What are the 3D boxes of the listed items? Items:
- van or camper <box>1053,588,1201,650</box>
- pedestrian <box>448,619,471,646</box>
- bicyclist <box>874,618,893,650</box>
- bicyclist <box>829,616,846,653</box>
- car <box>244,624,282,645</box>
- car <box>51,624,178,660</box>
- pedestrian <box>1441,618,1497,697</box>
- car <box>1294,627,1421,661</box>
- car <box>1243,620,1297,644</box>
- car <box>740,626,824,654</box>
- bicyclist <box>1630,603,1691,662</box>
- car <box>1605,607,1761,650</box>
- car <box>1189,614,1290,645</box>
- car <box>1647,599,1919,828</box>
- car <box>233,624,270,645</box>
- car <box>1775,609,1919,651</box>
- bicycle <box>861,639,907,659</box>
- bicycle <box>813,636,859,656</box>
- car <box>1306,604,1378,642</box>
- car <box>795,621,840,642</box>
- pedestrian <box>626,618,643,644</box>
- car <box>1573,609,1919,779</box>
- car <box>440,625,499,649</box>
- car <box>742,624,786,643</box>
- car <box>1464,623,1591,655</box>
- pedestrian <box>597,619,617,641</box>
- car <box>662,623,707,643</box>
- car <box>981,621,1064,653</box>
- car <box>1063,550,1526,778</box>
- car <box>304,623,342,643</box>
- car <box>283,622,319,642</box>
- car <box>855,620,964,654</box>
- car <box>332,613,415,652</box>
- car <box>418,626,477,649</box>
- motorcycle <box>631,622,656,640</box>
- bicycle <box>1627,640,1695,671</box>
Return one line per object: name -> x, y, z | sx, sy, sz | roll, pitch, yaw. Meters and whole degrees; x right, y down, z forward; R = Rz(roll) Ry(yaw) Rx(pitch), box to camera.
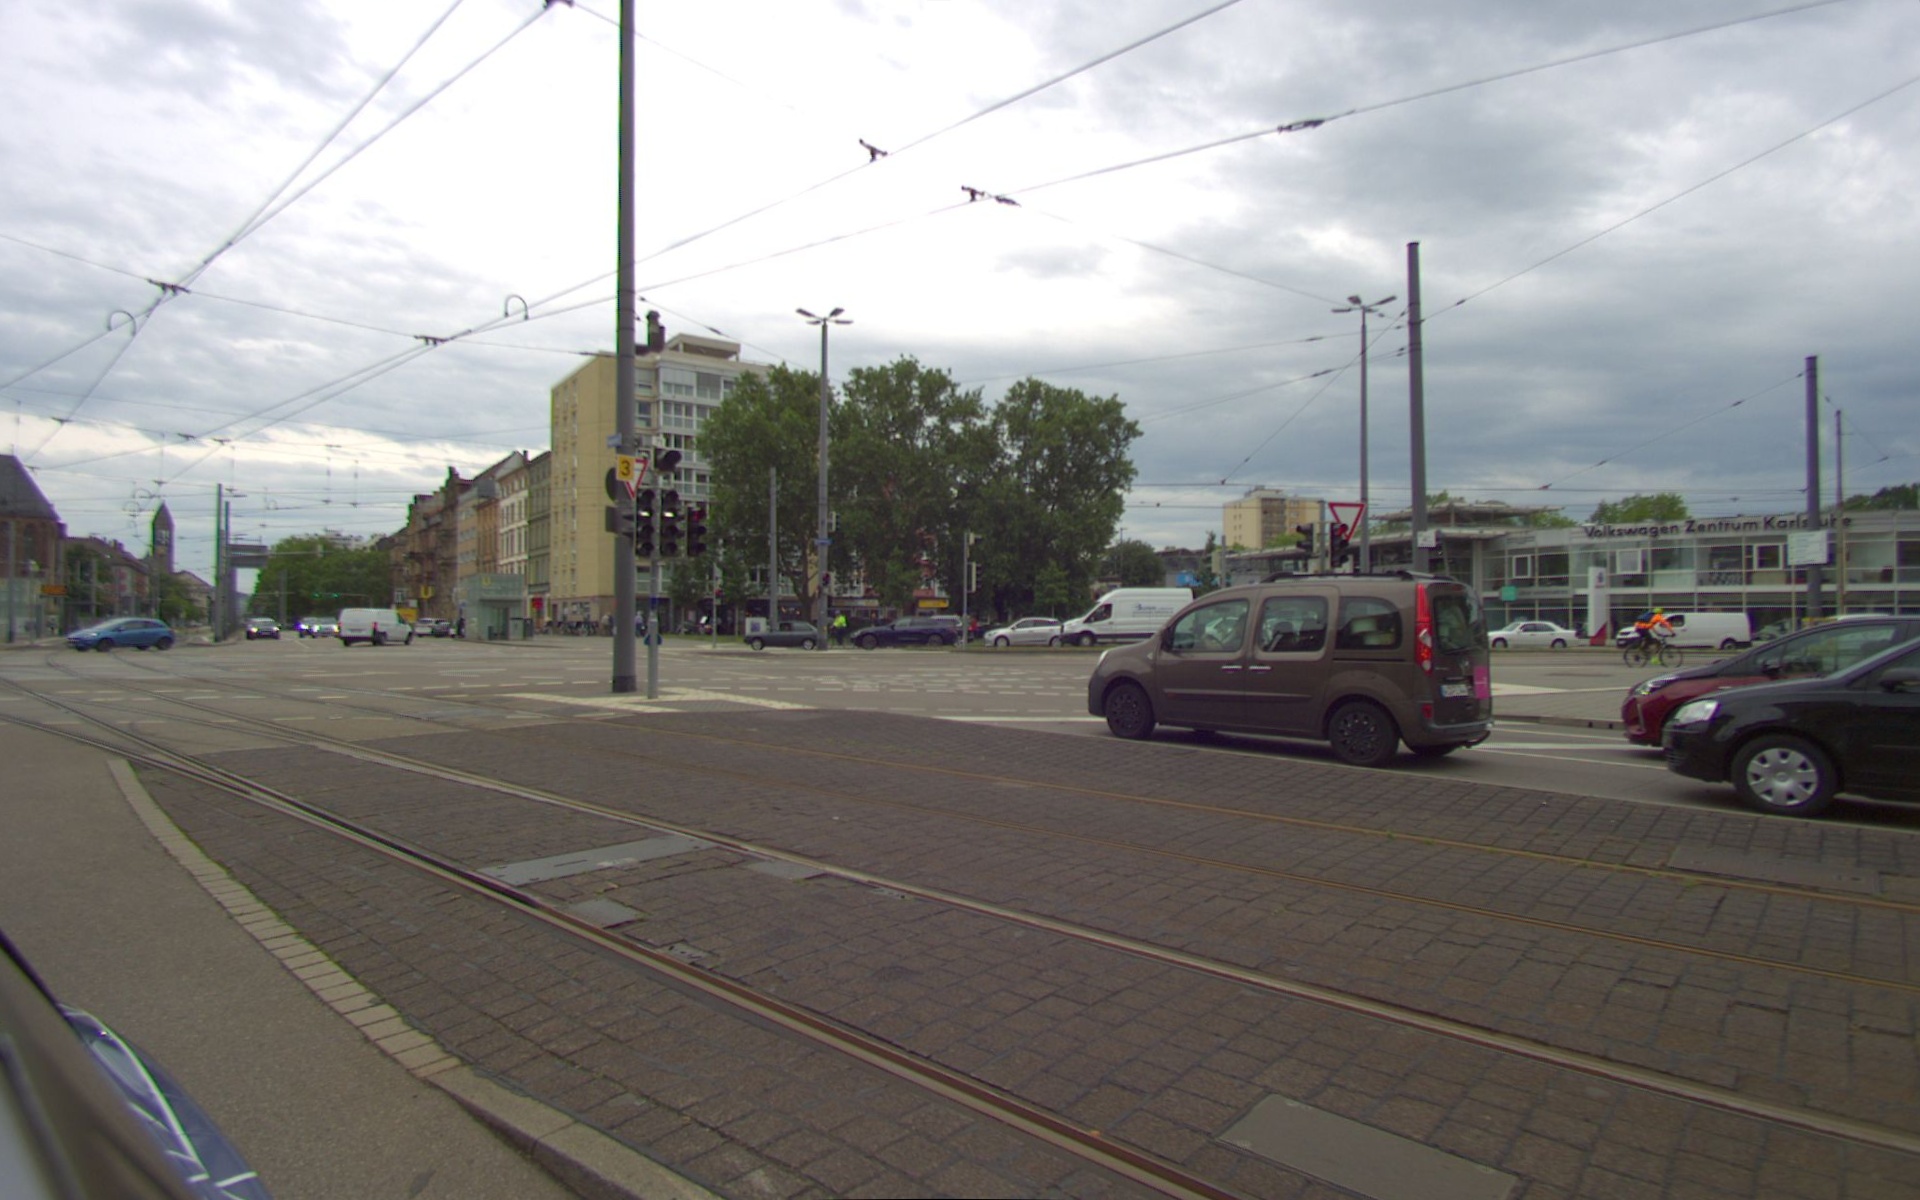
van or camper -> 7.232, 0.815, 44.353 | 5.962, 2.630, 2.425 | 0, -1, -3
pedestrian -> -33.966, 2.195, 68.707 | 1.162, 1.798, 1.042 | 1, -2, -41
bicyclist -> -3.727, 1.635, 49.169 | 0.845, 1.519, 0.567 | -2, -2, 1
bicyclist -> -5.967, 1.689, 49.362 | 0.786, 1.817, 0.629 | 0, -2, 1
car -> -49.199, 2.398, 71.418 | 1.968, 1.453, 4.008 | 1, -2, -38
car -> -38.332, 1.862, 45.986 | 1.982, 1.504, 4.037 | -2, -2, 16
pedestrian -> 11.389, 1.268, 22.665 | 0.592, 1.741, 0.915 | 0, -2, -22
car -> 17.336, 1.905, 44.281 | 4.739, 1.431, 1.998 | 0, -1, 4
car -> 26.283, 2.708, 85.793 | 3.932, 2.029, 2.006 | 1, -1, -15
car -> -8.157, 1.827, 46.699 | 3.682, 1.256, 1.693 | 0, -1, -4
bicyclist -> 19.857, 0.926, 28.692 | 1.299, 1.633, 0.832 | 1, -2, -22
car -> 33.004, 1.310, 46.343 | 5.380, 1.870, 2.160 | 0, -1, 6
car -> 13.026, 1.371, 47.248 | 4.210, 1.431, 1.641 | 0, -1, 0
car -> 7.073, 0.729, 6.627 | 1.669, 1.453, 4.003 | 1, -2, -44
car -> -53.721, 2.559, 76.692 | 1.968, 1.541, 4.007 | 1, -2, -39
car -> 39.895, 1.356, 45.614 | 4.471, 1.853, 1.995 | 0, -1, 9
bicycle -> -3.704, 2.386, 49.168 | 2.192, 0.933, 0.520 | -1, -2, 1
bicycle -> -6.065, 2.238, 49.434 | 2.192, 0.937, 0.520 | -1, -2, 1
car -> 21.856, 1.283, 58.123 | 2.089, 2.029, 4.785 | 0, 0, -4
car -> -12.121, 2.667, 86.069 | 1.968, 1.719, 4.007 | 1, -1, -40
pedestrian -> -21.598, 2.041, 67.230 | 0.915, 1.733, 0.697 | 0, -1, 42
car -> 8.398, 0.830, 9.717 | 1.669, 1.453, 4.003 | 1, -2, -44
car -> -39.199, 2.948, 80.971 | 2.065, 1.768, 3.974 | 0, -1, 20
car -> -16.397, 2.828, 84.760 | 1.968, 1.564, 4.007 | 1, -2, -39
car -> 26.337, 1.808, 47.092 | 4.692, 1.431, 1.996 | 0, -1, 6
pedestrian -> -26.376, 2.251, 75.577 | 1.024, 1.652, 1.334 | 1, -2, -39
car -> -21.766, 2.580, 79.780 | 1.968, 1.564, 4.007 | 1, -2, -39
car -> 2.867, 1.711, 46.910 | 3.682, 1.431, 1.642 | 0, -1, -4
car -> 3.302, 0.583, 10.695 | 1.669, 1.915, 4.390 | 1, -2, -44
car -> -46.807, 2.401, 74.295 | 1.968, 1.453, 4.008 | 1, -2, -38
car -> -52.487, 2.558, 80.587 | 1.968, 1.541, 4.007 | 1, -2, -39
car -> -2.187, 1.590, 43.757 | 4.592, 1.431, 2.002 | 0, -1, -4
car -> -30.484, 1.633, 52.753 | 1.893, 1.896, 5.097 | 1, 0, -7
car -> -41.646, 3.010, 82.370 | 2.065, 1.768, 3.974 | 0, -1, 20
motorcycle -> -21.719, 2.138, 69.406 | 0.850, 1.187, 2.554 | 1, -1, -35
bicycle -> 19.835, 1.562, 28.626 | 2.037, 0.855, 0.560 | 1, -2, -22
